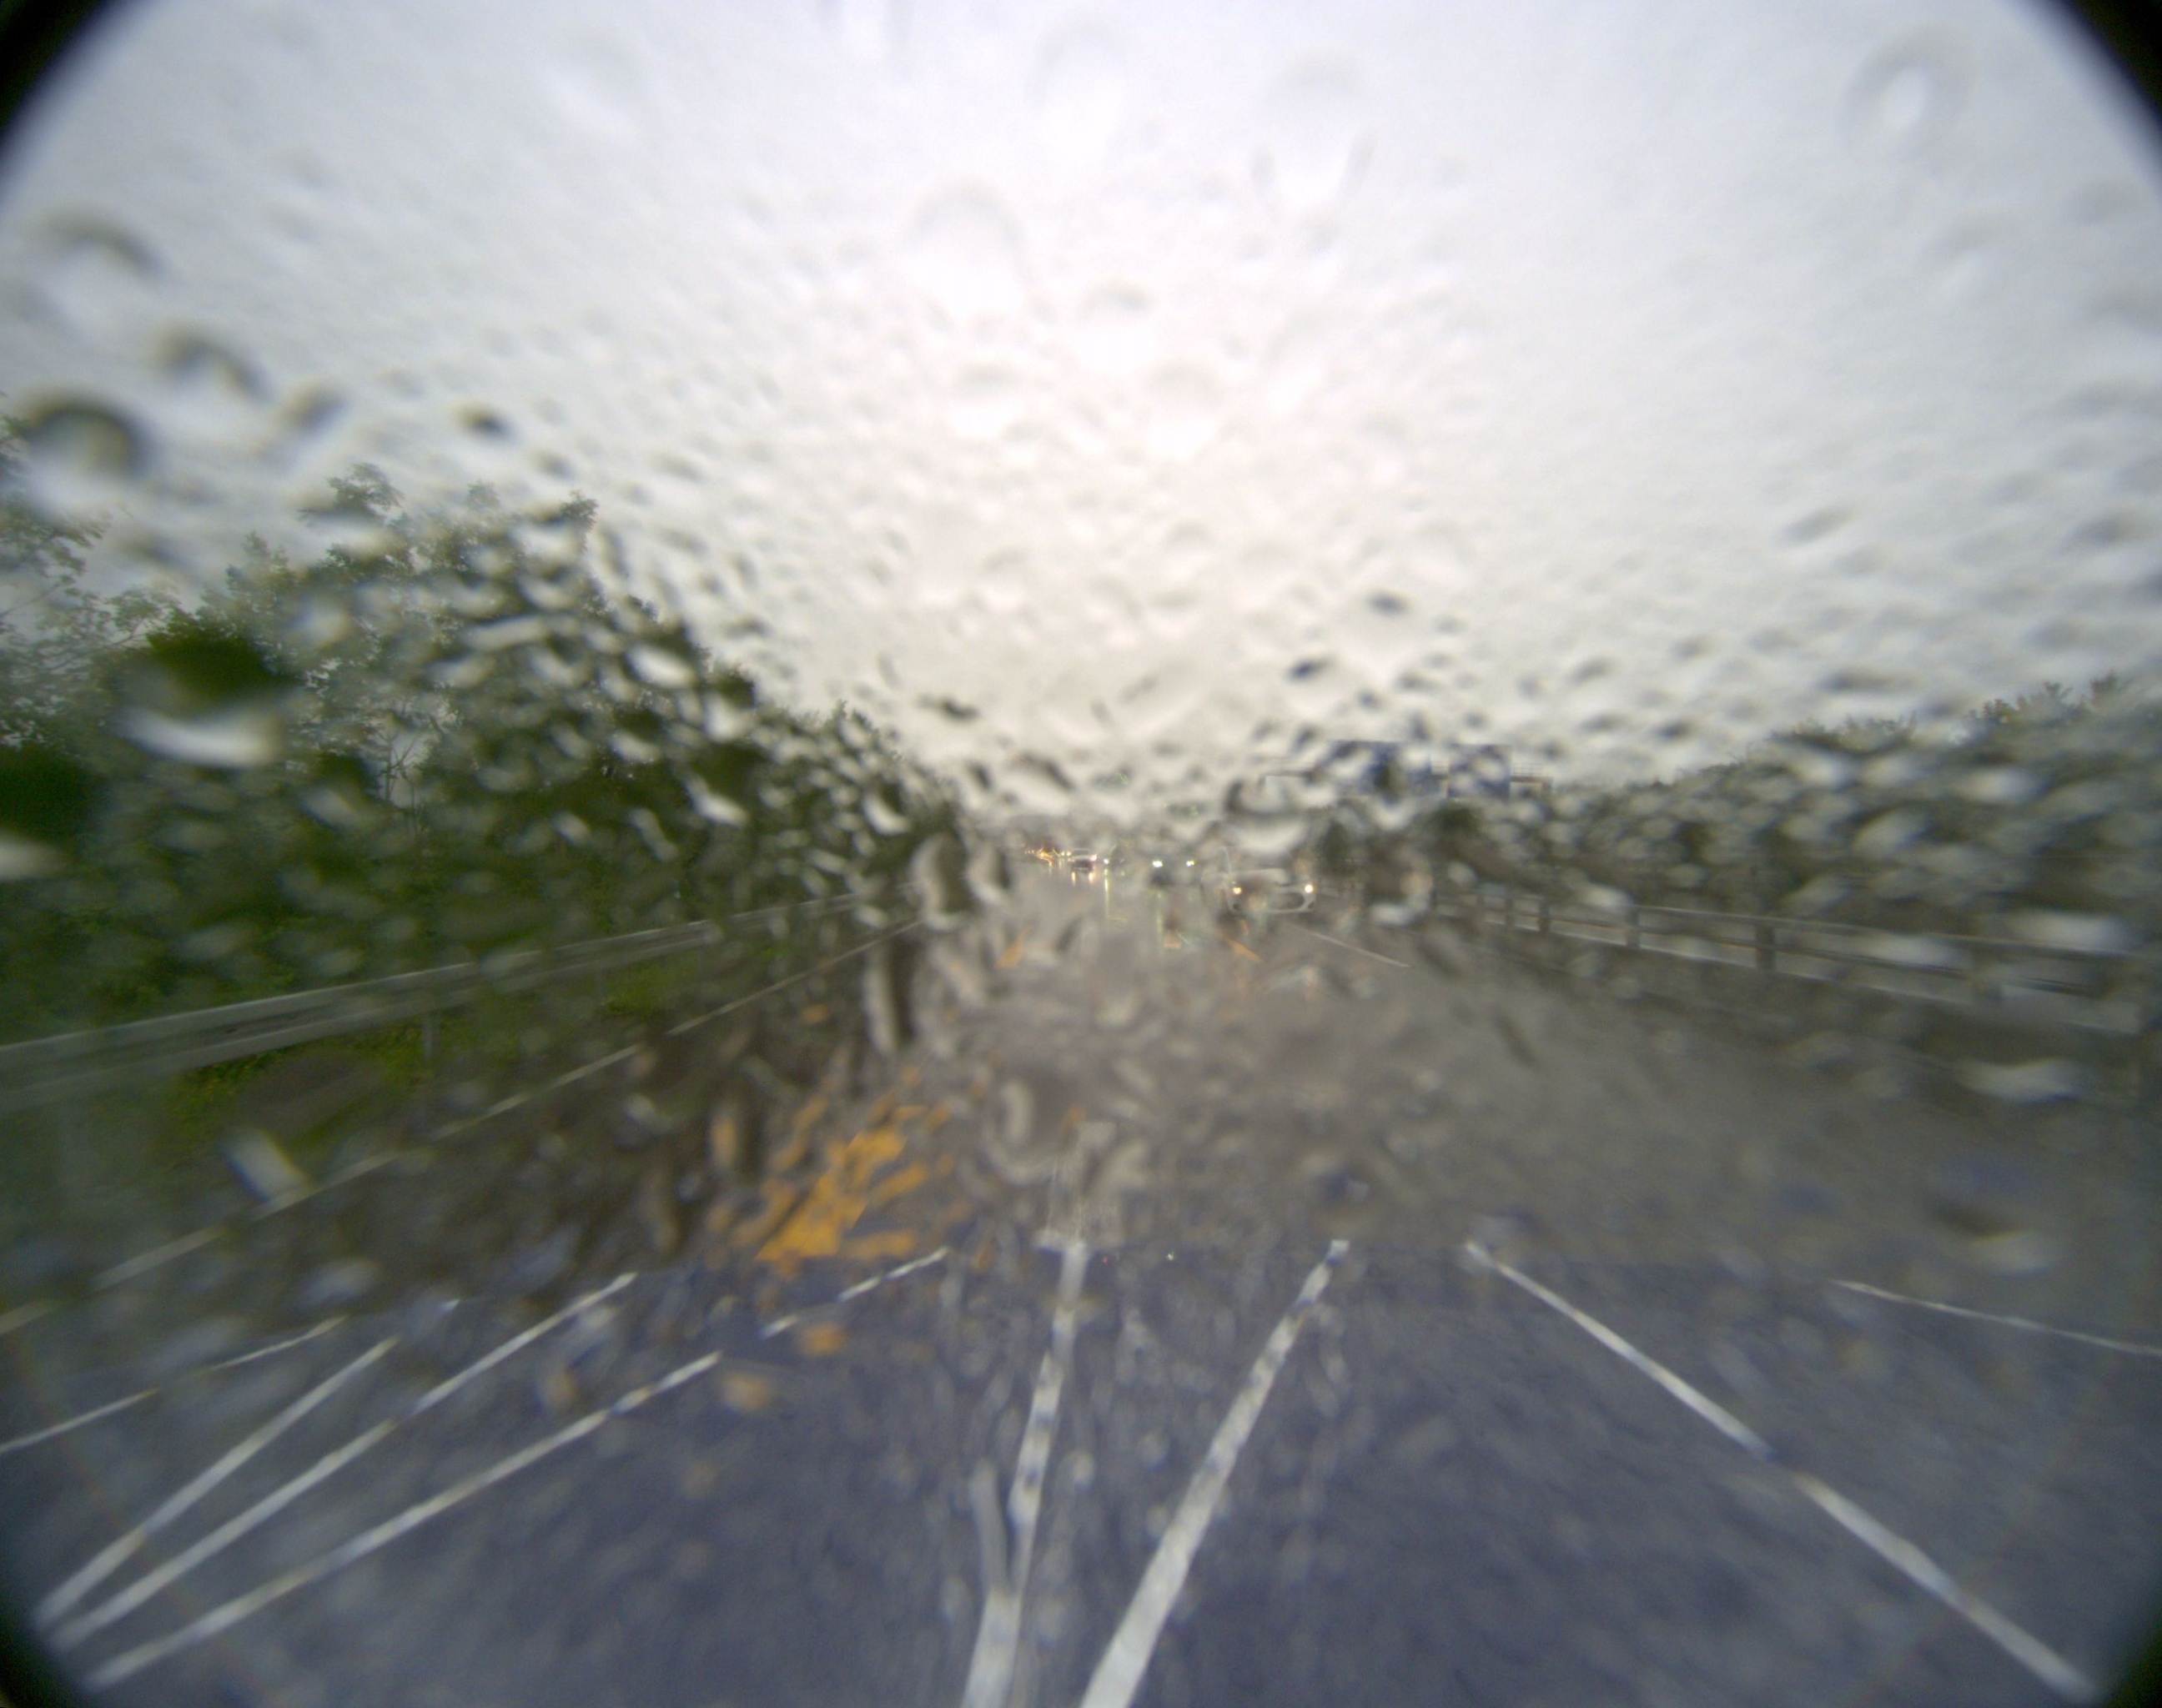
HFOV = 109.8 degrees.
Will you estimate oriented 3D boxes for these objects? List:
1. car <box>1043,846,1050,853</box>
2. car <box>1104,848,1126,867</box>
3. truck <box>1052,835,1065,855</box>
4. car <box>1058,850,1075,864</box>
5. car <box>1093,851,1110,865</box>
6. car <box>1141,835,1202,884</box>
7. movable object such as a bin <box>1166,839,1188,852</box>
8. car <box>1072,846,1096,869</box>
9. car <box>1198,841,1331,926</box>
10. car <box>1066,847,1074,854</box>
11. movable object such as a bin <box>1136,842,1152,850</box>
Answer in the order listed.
[{"bbox_3d":[-9.529,-1.282,210.316,1.834,1.740,3.998,-2,1,-3],"label":"car"},{"bbox_3d":[3.283,0.333,73.699,1.695,1.740,3.998,-2,1,-3],"label":"car"},{"bbox_3d":[-5.059,-1.990,167.345,2.484,4.061,8.700,-2,1,-3],"label":"truck"},{"bbox_3d":[-1.802,0.336,92.203,1.882,1.656,3.998,-1,1,-3],"label":"car"},{"bbox_3d":[2.686,0.508,99.617,1.845,1.586,3.998,-2,1,-3],"label":"car"},{"bbox_3d":[4.149,0.201,35.614,2.211,2.002,5.563,-2,1,1],"label":"car"},{"bbox_3d":[21.548,-1.937,171.463,3.775,2.782,6.327,-2,1,-2],"label":"movable object such as a bin"},{"bbox_3d":[0.261,0.293,69.600,1.882,2.002,3.998,-2,1,-3],"label":"car"},{"bbox_3d":[3.846,0.588,16.743,1.978,1.586,4.310,-1,0,2],"label":"car"},{"bbox_3d":[-2.668,-0.879,184.474,1.752,1.579,3.998,-2,1,-3],"label":"car"},{"bbox_3d":[17.620,-2.203,212.674,3.449,2.281,5.096,-2,1,-9],"label":"movable object such as a bin"}]
